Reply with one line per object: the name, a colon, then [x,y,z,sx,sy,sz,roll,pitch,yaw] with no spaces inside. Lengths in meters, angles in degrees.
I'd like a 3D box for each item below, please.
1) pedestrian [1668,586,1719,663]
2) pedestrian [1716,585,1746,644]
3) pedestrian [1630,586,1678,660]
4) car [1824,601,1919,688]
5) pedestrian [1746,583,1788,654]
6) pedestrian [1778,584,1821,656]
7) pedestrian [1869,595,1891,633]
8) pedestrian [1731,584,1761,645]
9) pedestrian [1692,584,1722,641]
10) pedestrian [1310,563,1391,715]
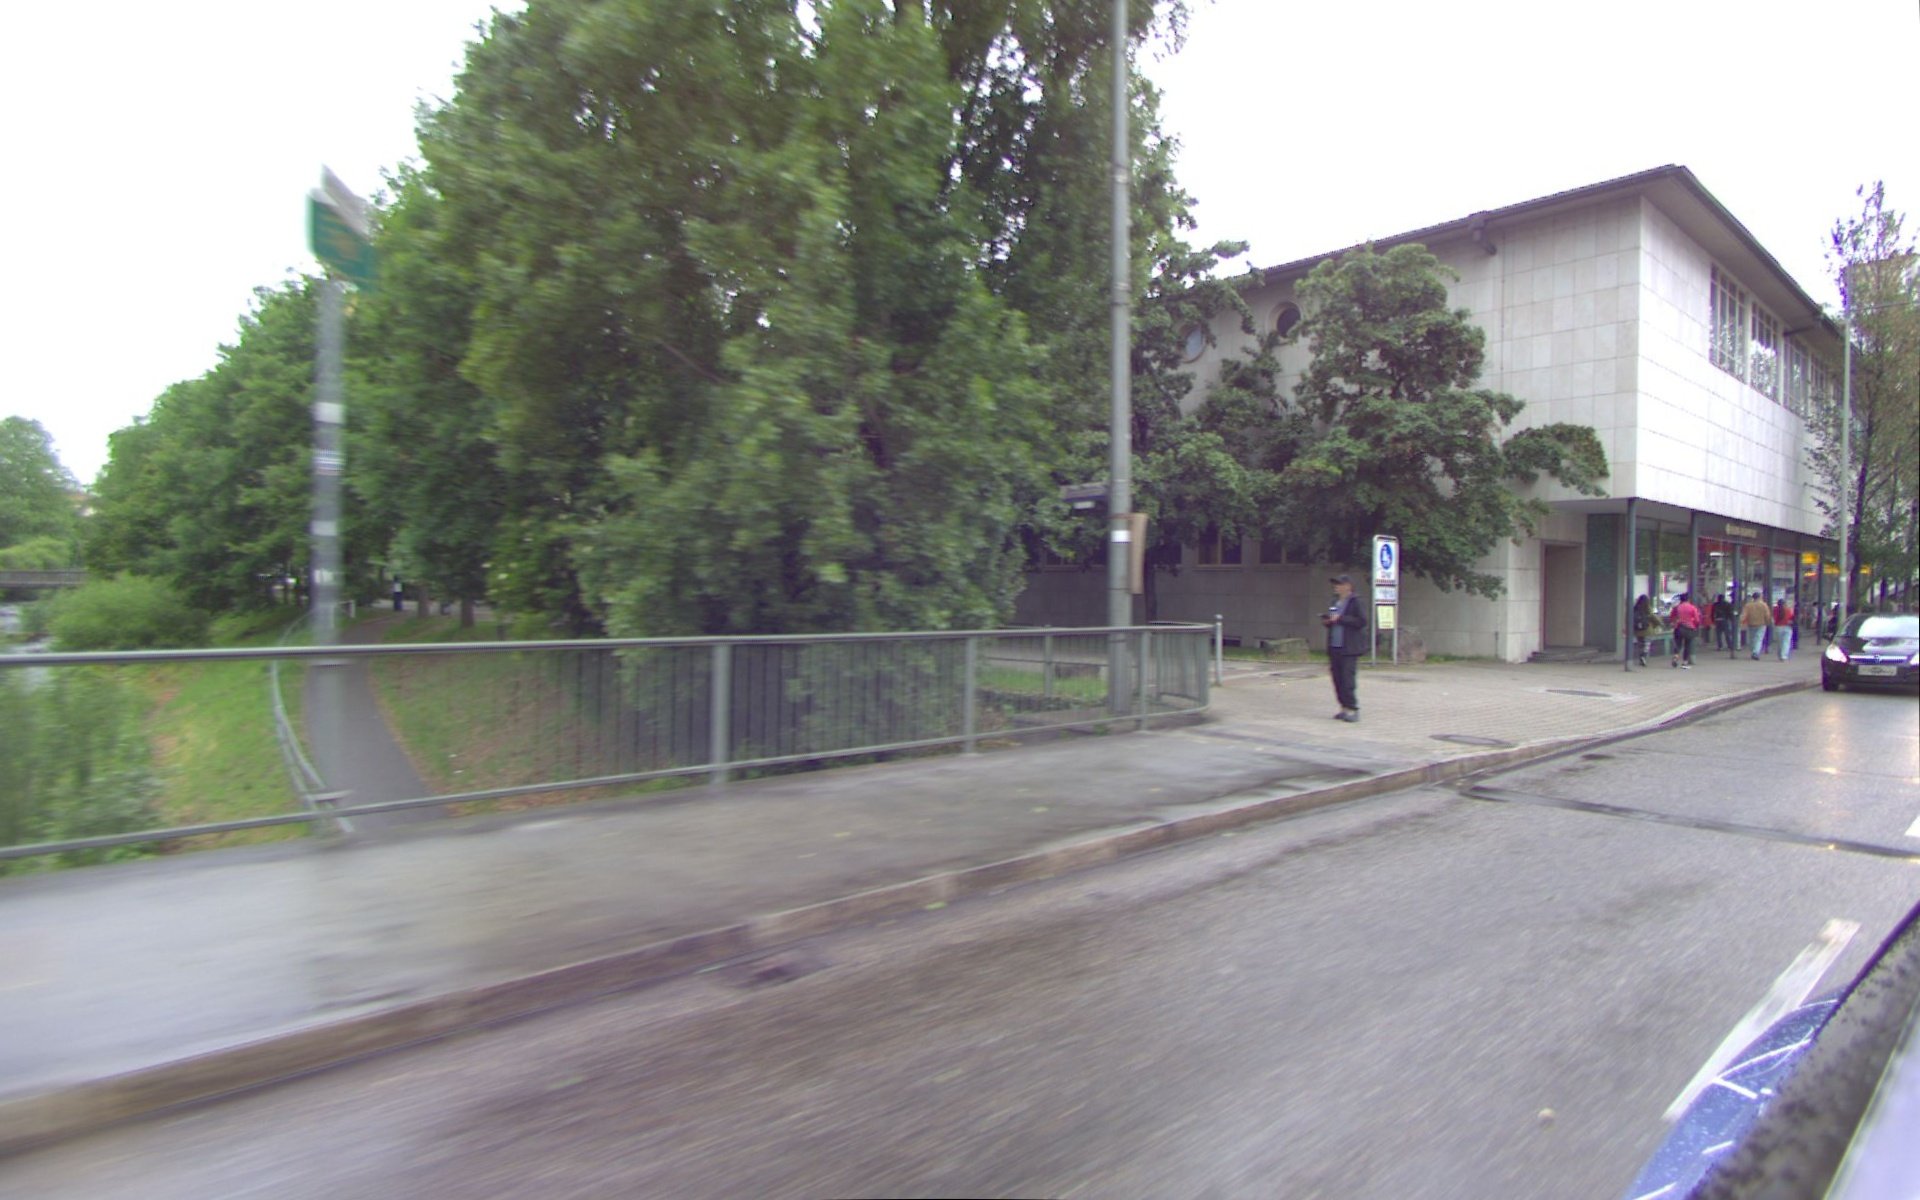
pedestrian: [16.163,0.527,22.297,0.756,1.640,0.718,0,2,-41]
pedestrian: [23.084,0.431,30.296,0.524,1.740,0.538,0,1,-32]
pedestrian: [15.719,0.510,22.930,0.596,1.609,0.727,0,2,-41]
car: [17.542,0.777,18.778,3.675,1.475,1.711,0,0,-40]
pedestrian: [21.208,0.473,26.597,0.596,1.824,0.699,0,2,-41]
pedestrian: [21.656,0.501,26.113,0.907,1.789,0.655,0,2,-41]
pedestrian: [39.237,0.583,43.168,0.499,1.586,0.431,1,1,-10]
pedestrian: [23.984,0.429,30.877,0.524,1.842,0.538,0,1,-32]
pedestrian: [22.848,0.373,30.952,0.524,1.740,0.539,0,1,-31]
pedestrian: [4.510,0.431,11.688,0.553,1.685,0.641,2,1,-42]
